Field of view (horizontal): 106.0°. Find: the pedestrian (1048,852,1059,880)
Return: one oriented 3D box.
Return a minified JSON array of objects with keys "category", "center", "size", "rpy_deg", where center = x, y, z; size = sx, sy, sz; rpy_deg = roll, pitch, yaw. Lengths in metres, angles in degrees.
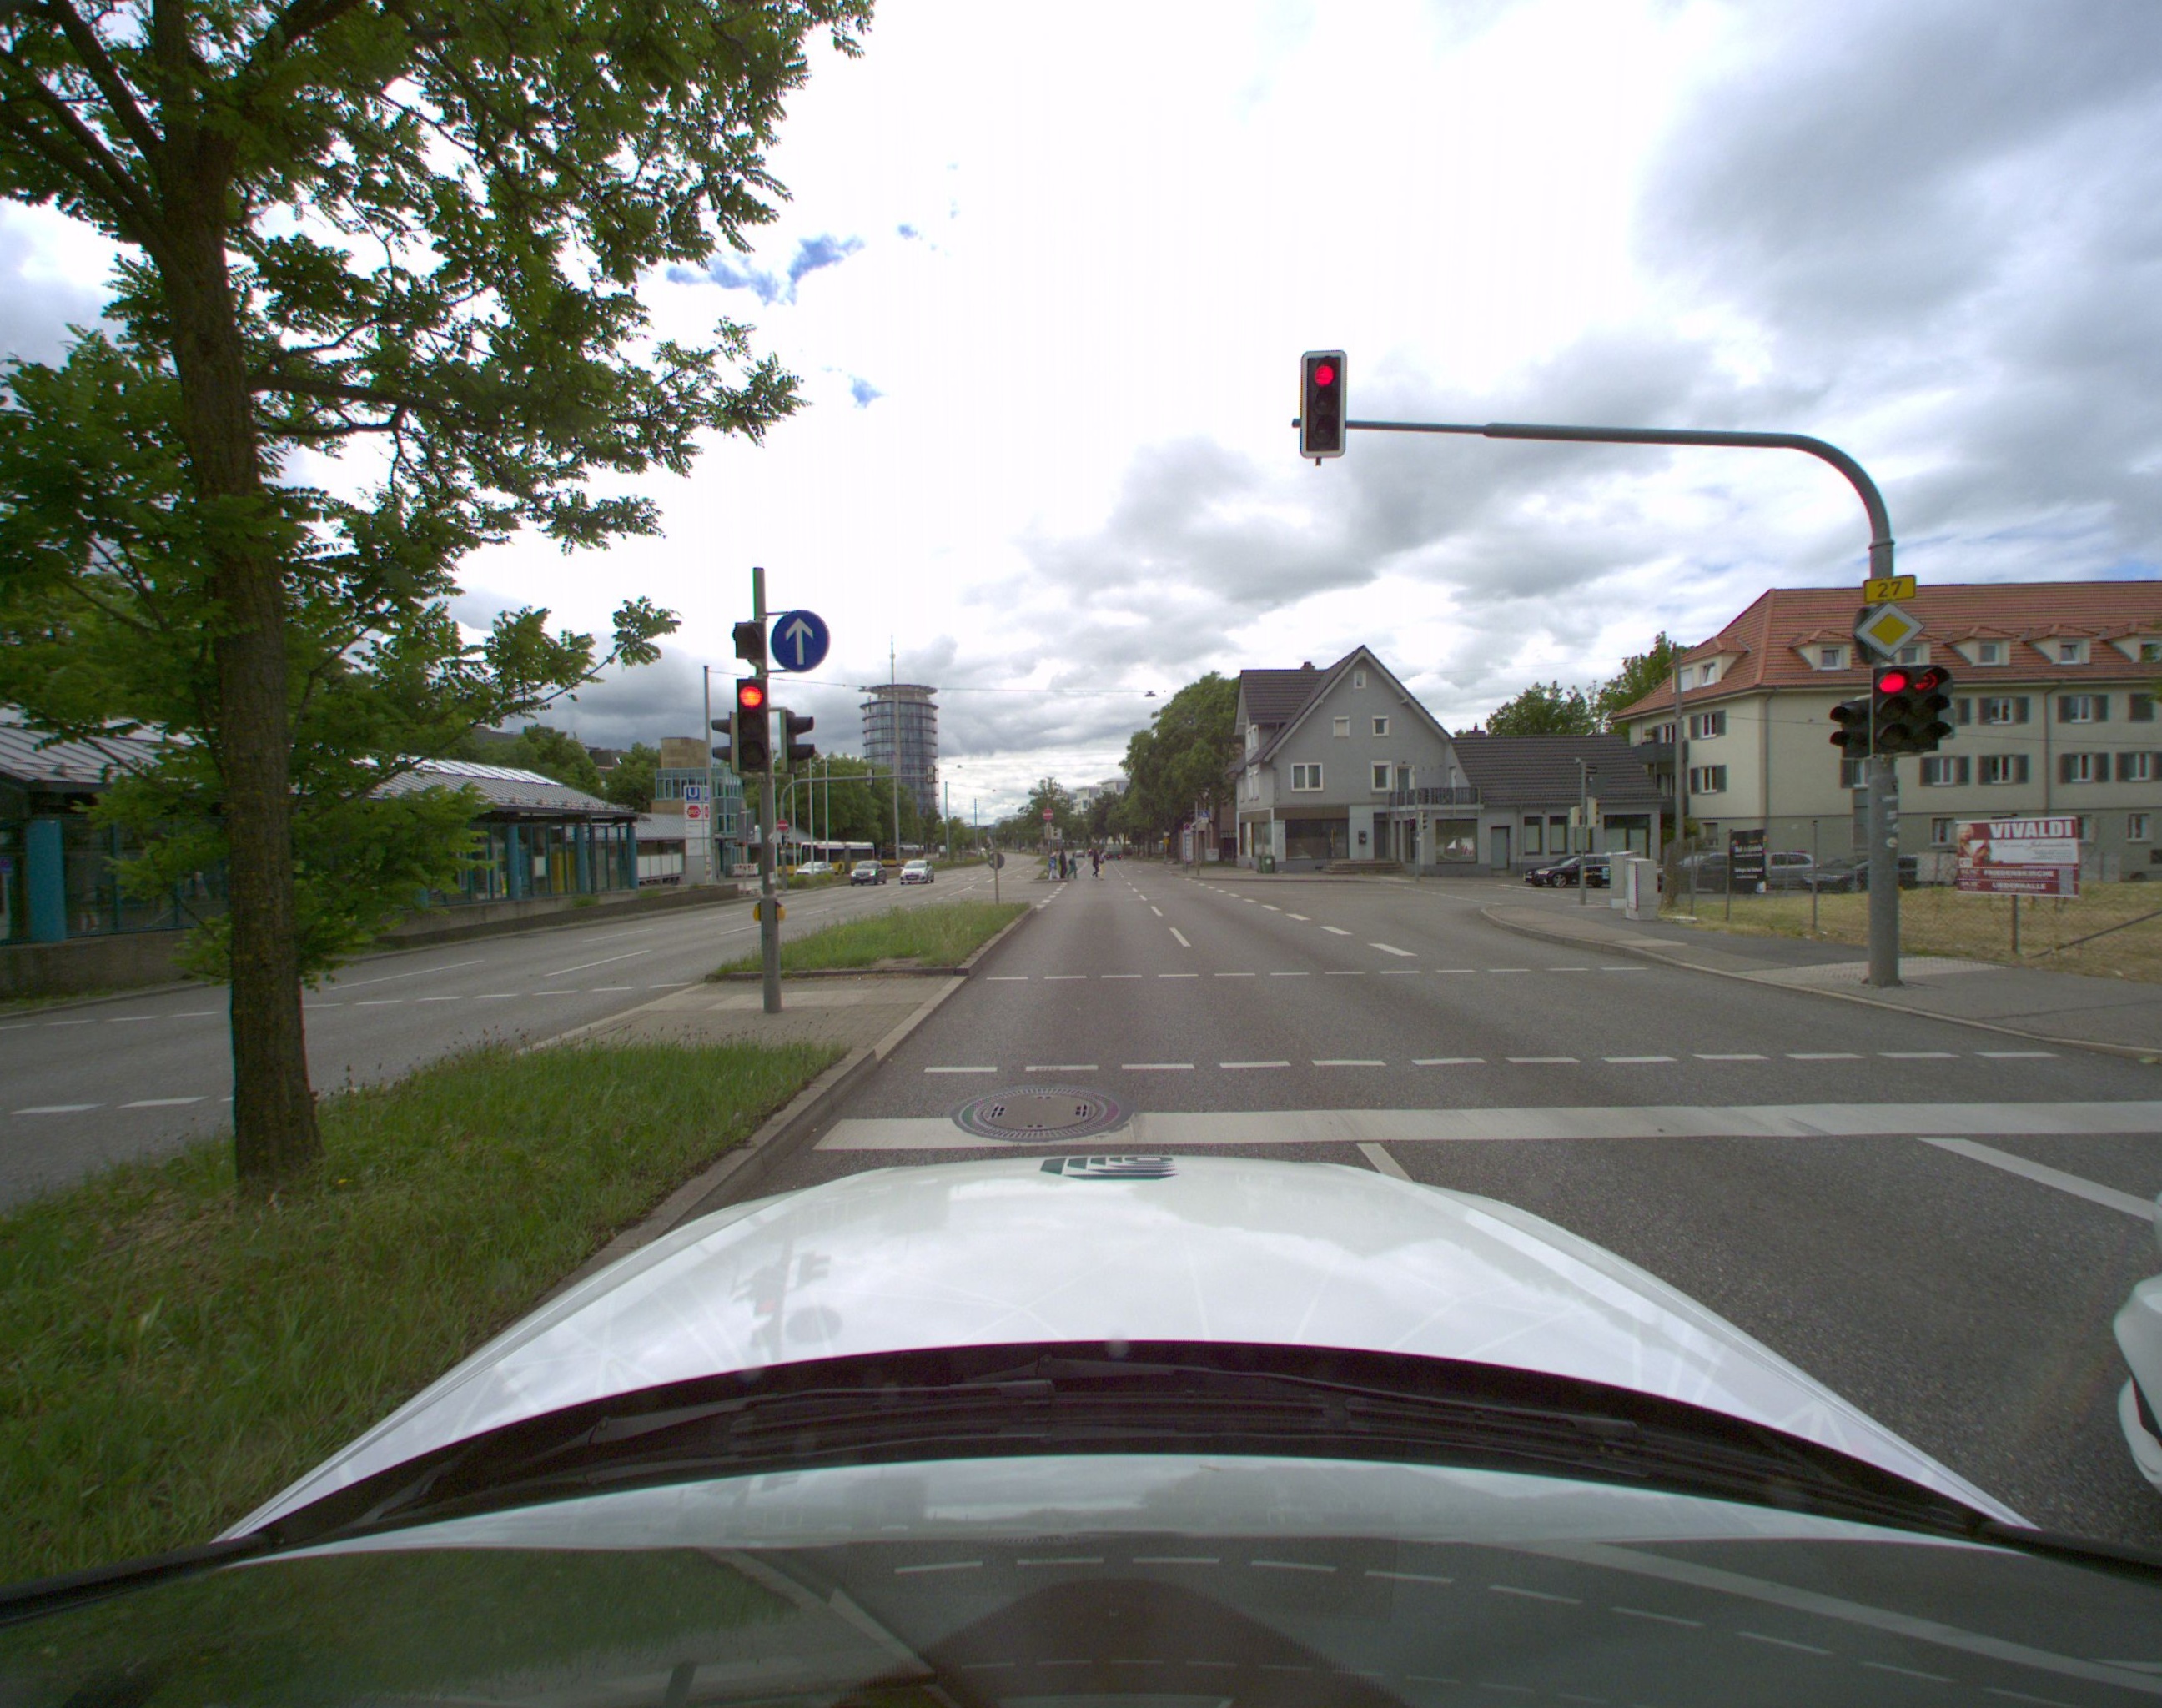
[{"category":"pedestrian","center":[-1.509,0.641,44.763],"size":[0.542,1.496,0.485],"rpy_deg":[-2,0,-6]}]

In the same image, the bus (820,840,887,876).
[{"category":"bus","center":[-23.159,0.359,83.650],"size":[2.817,3.430,10.750],"rpy_deg":[-2,0,6]}]

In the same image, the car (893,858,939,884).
[{"category":"car","center":[-10.335,1.041,51.345],"size":[1.987,1.486,4.000],"rpy_deg":[-2,0,0]}]

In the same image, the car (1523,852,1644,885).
[{"category":"car","center":[21.350,0.596,34.704],"size":[4.075,1.371,1.800],"rpy_deg":[0,0,0]}]

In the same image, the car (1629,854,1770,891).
[{"category":"car","center":[23.744,0.693,31.374],"size":[4.075,1.371,1.800],"rpy_deg":[0,0,0]}]

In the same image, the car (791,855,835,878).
[{"category":"car","center":[-20.318,0.940,61.955],"size":[1.798,1.662,4.003],"rpy_deg":[-2,0,3]}]

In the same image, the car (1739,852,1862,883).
[{"category":"car","center":[32.852,0.608,37.240],"size":[4.075,1.371,1.800],"rpy_deg":[0,0,0]}]

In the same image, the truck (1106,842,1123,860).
[{"category":"truck","center":[5.042,-0.529,121.816],"size":[2.461,2.611,6.552],"rpy_deg":[0,1,2]}]

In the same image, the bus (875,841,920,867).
[{"category":"bus","center":[-25.702,0.028,114.932],"size":[2.817,3.430,10.750],"rpy_deg":[-2,0,6]}]

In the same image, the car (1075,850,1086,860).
[{"category":"car","center":[-0.136,0.137,152.855],"size":[1.986,1.830,4.001],"rpy_deg":[-1,0,1]}]

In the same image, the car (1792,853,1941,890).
[{"category":"car","center":[30.416,0.674,31.624],"size":[4.075,1.371,1.800],"rpy_deg":[0,0,0]}]

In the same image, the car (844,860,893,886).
[{"category":"car","center":[-13.455,1.187,51.783],"size":[1.987,1.486,4.000],"rpy_deg":[-2,0,0]}]

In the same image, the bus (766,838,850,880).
[{"category":"bus","center":[-24.247,0.385,73.119],"size":[2.817,3.430,10.750],"rpy_deg":[-2,0,6]}]

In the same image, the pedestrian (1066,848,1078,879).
[{"category":"pedestrian","center":[-0.503,0.536,46.791],"size":[0.582,1.716,0.545],"rpy_deg":[-2,0,-5]}]

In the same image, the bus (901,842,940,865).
[{"category":"bus","center":[-24.623,-0.090,125.655],"size":[2.817,3.430,10.750],"rpy_deg":[-2,0,6]}]

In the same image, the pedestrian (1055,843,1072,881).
[{"category":"pedestrian","center":[-0.972,0.412,43.984],"size":[0.829,2.013,0.545],"rpy_deg":[-2,0,-6]}]

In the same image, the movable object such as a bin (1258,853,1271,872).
[{"category":"movable object such as a bin","center":[9.989,0.477,44.382],"size":[0.613,1.043,0.590],"rpy_deg":[0,0,3]}]

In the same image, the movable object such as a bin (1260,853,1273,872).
[{"category":"movable object such as a bin","center":[9.981,0.456,43.832],"size":[0.602,1.059,0.590],"rpy_deg":[0,0,3]}]

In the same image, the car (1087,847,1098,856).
[{"category":"car","center":[2.284,-0.494,157.923],"size":[1.986,1.552,4.001],"rpy_deg":[0,0,1]}]

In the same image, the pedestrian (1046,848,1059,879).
[{"category":"pedestrian","center":[-1.596,0.525,45.493],"size":[0.611,1.716,0.545],"rpy_deg":[-2,0,-5]}]

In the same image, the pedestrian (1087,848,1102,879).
[{"category":"pedestrian","center":[0.748,0.513,45.373],"size":[0.744,1.716,0.582],"rpy_deg":[-2,0,-6]}]

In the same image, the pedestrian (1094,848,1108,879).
[{"category":"pedestrian","center":[1.111,0.521,44.855],"size":[0.652,1.716,0.451],"rpy_deg":[-2,0,-6]}]

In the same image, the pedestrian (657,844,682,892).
[{"category":"pedestrian","center":[-17.543,0.589,34.722],"size":[0.680,2.013,0.645],"rpy_deg":[-2,0,-3]}]

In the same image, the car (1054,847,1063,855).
[{"category":"car","center":[-4.867,-0.619,176.767],"size":[1.988,1.519,3.997],"rpy_deg":[-2,0,-2]}]
